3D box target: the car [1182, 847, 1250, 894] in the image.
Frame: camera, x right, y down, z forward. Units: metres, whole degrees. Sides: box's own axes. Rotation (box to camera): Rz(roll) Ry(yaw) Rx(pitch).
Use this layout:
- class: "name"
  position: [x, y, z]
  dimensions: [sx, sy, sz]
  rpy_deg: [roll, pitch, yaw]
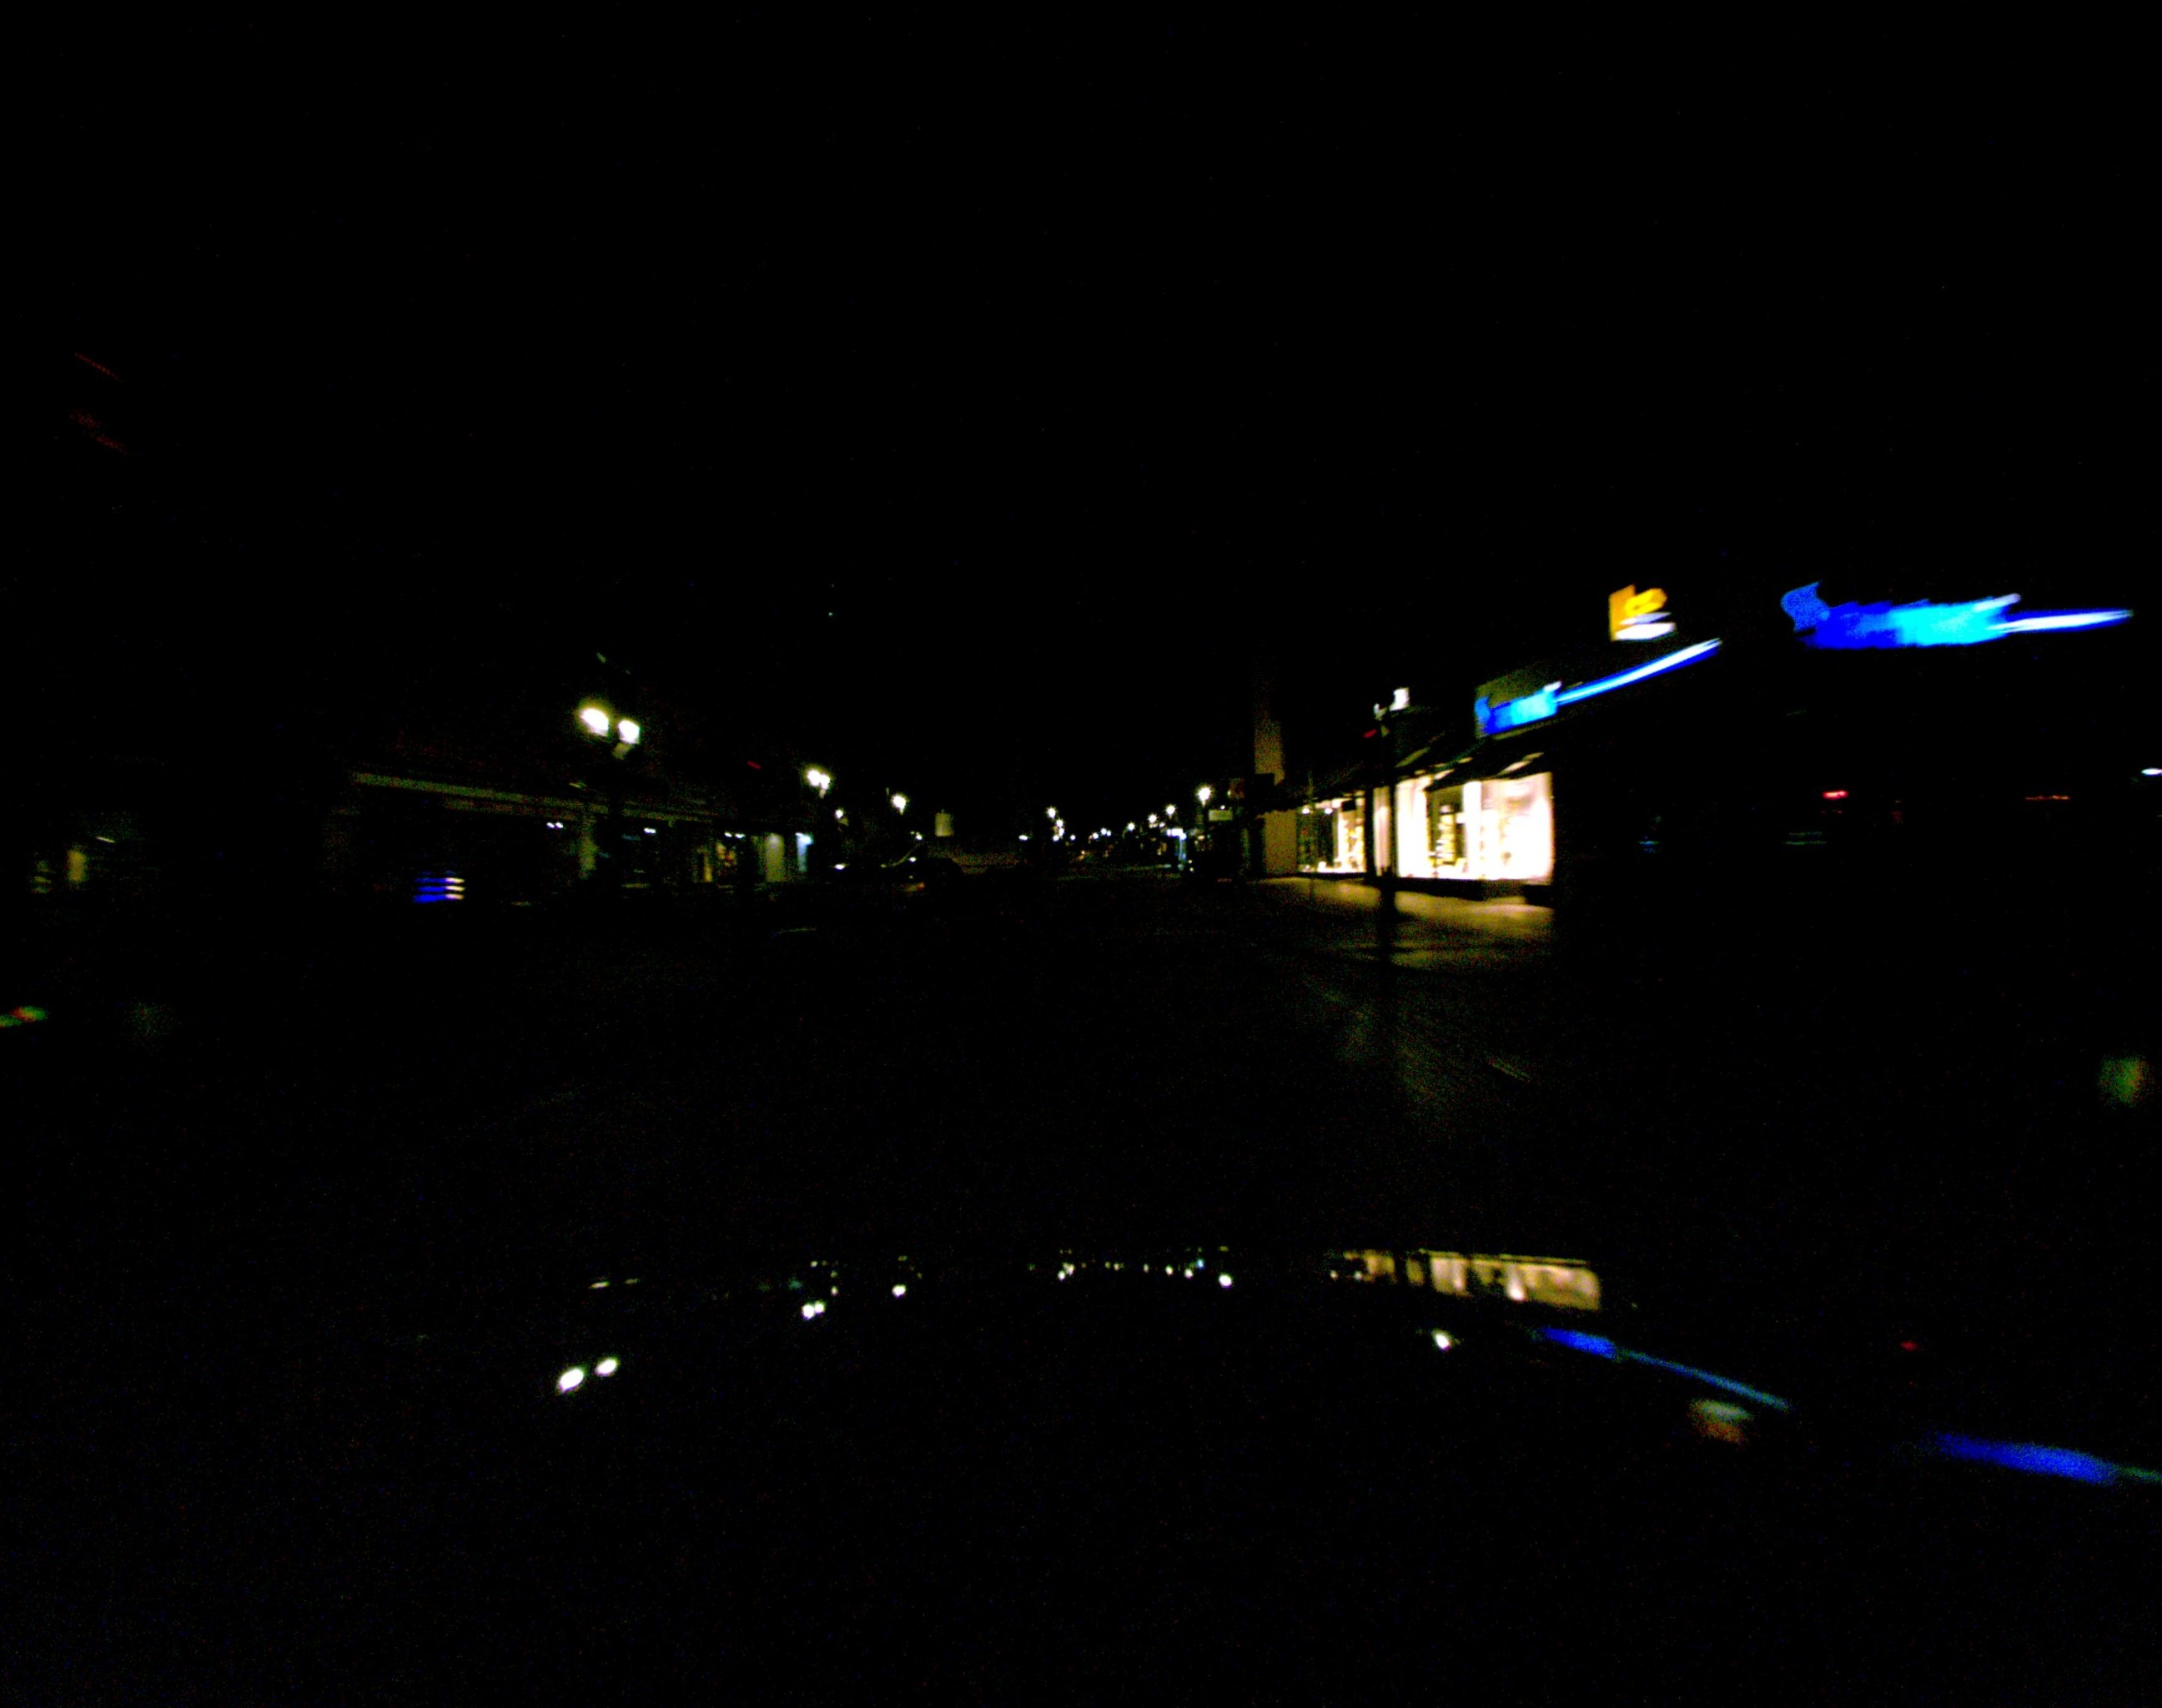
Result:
- class: "car"
  position: [4.698, 0.530, 26.974]
  dimensions: [1.655, 1.417, 4.014]
  rpy_deg: [-4, 0, 1]

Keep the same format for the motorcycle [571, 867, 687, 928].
- class: "motorcycle"
  position: [-10.416, 0.975, 17.577]
  dimensions: [2.226, 1.263, 0.531]
  rpy_deg: [-2, 1, -41]

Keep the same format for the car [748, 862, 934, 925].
- class: "car"
  position: [-6.526, 1.008, 20.861]
  dimensions: [4.555, 1.447, 1.633]
  rpy_deg: [-2, 1, -33]

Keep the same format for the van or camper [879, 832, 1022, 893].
- class: "van or camper"
  position: [-5.921, 0.330, 34.774]
  dimensions: [6.060, 2.519, 2.157]
  rpy_deg: [-2, 1, -29]

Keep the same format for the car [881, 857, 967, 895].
- class: "car"
  position: [-6.543, 0.886, 31.615]
  dimensions: [3.183, 1.447, 1.691]
  rpy_deg: [-1, 1, -26]
